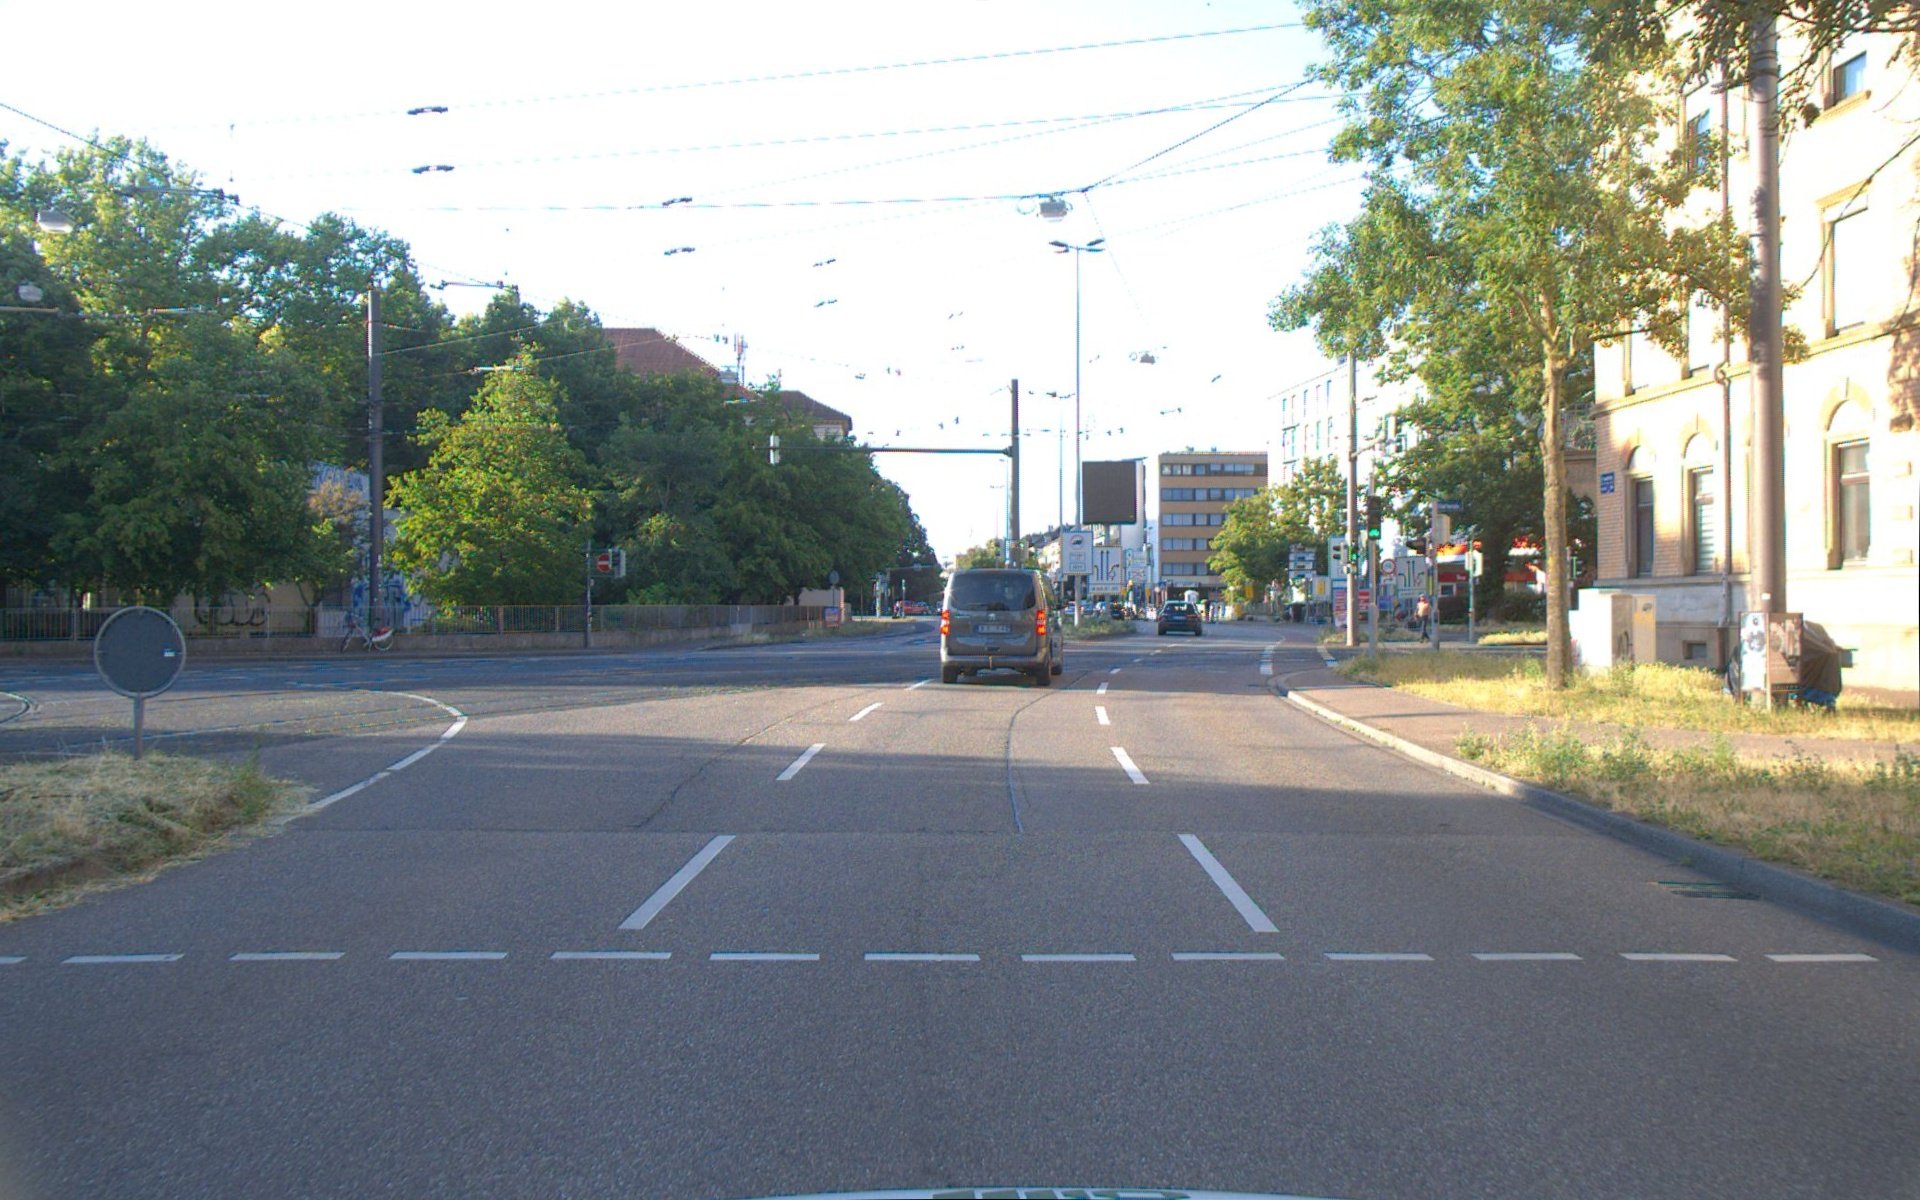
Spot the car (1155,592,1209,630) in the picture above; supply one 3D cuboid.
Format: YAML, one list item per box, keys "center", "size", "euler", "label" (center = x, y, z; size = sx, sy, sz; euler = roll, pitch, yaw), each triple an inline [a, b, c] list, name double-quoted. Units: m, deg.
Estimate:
- center: [9.345, 0.441, 69.449]
  size: [1.806, 1.571, 3.634]
  euler: [0, 0, 15]
  label: "car"

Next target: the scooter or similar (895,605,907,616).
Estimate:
- center: [-5.444, 0.955, 152.901]
  size: [1.079, 0.994, 0.557]
  euler: [1, -1, -12]
  label: "scooter or similar"

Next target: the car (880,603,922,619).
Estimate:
- center: [-6.028, 1.129, 168.603]
  size: [3.928, 1.623, 1.988]
  euler: [0, 0, -20]
  label: "car"

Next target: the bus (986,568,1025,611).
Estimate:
- center: [5.126, -1.091, 187.429]
  size: [3.226, 4.698, 9.989]
  euler: [1, 0, -5]
  label: "bus"

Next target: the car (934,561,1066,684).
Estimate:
- center: [0.781, 0.367, 28.773]
  size: [1.951, 1.934, 4.301]
  euler: [1, 0, 5]
  label: "car"

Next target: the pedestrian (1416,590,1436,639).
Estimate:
- center: [16.034, 0.489, 56.958]
  size: [0.540, 1.657, 0.700]
  euler: [0, 0, 7]
  label: "pedestrian"

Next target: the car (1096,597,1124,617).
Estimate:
- center: [12.827, 0.590, 141.396]
  size: [1.953, 1.685, 4.298]
  euler: [-1, 0, -1]
  label: "car"

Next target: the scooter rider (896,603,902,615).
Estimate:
- center: [-5.662, 0.840, 152.861]
  size: [0.500, 1.054, 0.445]
  euler: [1, -1, -13]
  label: "scooter rider"

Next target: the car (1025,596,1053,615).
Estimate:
- center: [6.947, 0.493, 145.576]
  size: [1.954, 1.685, 4.295]
  euler: [-1, 0, -4]
  label: "car"

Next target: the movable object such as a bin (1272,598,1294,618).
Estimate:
- center: [23.417, 0.585, 119.989]
  size: [1.431, 1.410, 1.548]
  euler: [-1, 0, 6]
  label: "movable object such as a bin"

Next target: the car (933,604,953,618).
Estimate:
- center: [-1.966, 1.319, 193.392]
  size: [1.951, 1.623, 4.002]
  euler: [0, 0, 5]
  label: "car"

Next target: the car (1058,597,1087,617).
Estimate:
- center: [9.960, 0.619, 146.456]
  size: [1.954, 1.685, 4.295]
  euler: [-1, 0, -4]
  label: "car"

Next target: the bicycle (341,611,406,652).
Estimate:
- center: [-17.018, 0.910, 48.040]
  size: [1.709, 1.162, 0.550]
  euler: [-1, 0, -44]
  label: "bicycle"

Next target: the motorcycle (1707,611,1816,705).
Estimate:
- center: [9.608, 0.677, 19.888]
  size: [0.591, 1.062, 1.745]
  euler: [0, 0, 5]
  label: "motorcycle"
